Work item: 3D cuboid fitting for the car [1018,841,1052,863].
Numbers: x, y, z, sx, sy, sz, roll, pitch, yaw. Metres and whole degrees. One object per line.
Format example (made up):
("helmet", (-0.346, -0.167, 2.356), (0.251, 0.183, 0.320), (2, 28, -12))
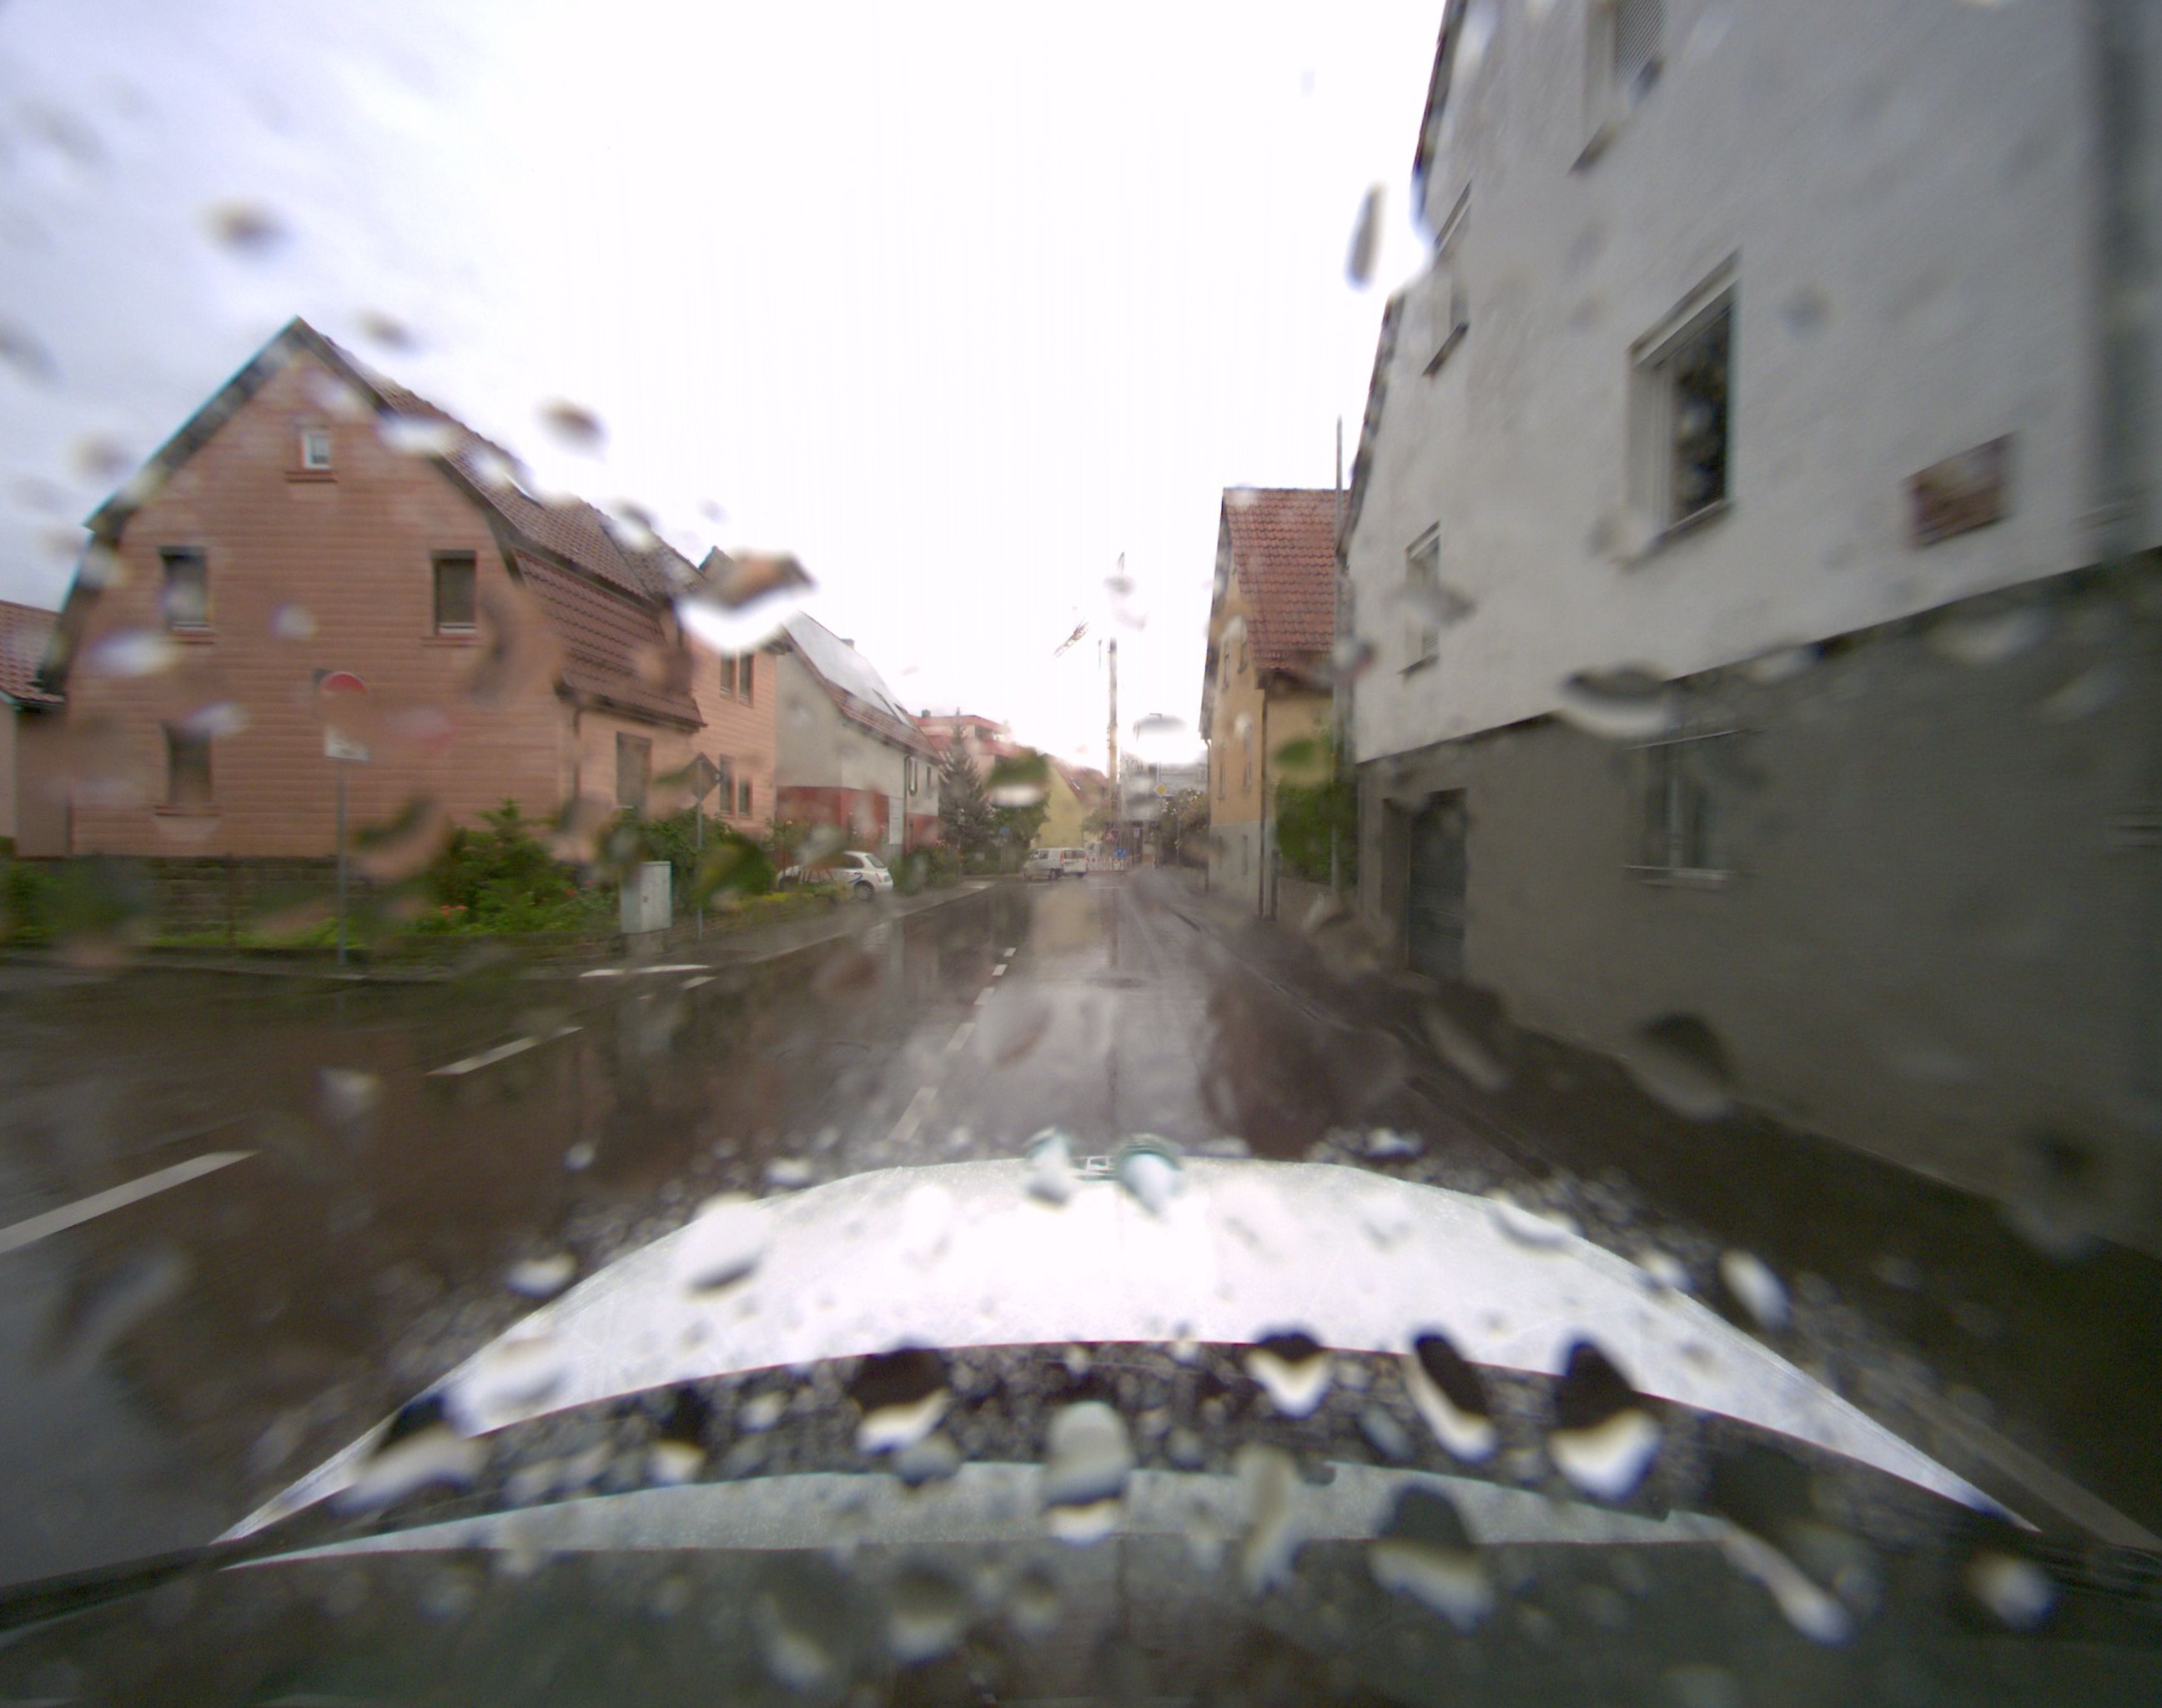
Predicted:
("car", (-3.787, -0.176, 67.413), (1.588, 1.677, 3.955), (1, 1, 16))

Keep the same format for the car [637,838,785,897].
("car", (-12.057, 0.434, 26.724), (3.974, 1.764, 1.758), (2, 0, 0))

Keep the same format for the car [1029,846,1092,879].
("car", (-1.265, 0.481, 48.179), (2.194, 1.869, 3.963), (0, -1, -28))

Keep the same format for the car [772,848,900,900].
("car", (-7.828, 0.625, 26.272), (3.531, 1.529, 1.664), (2, 0, 1))
